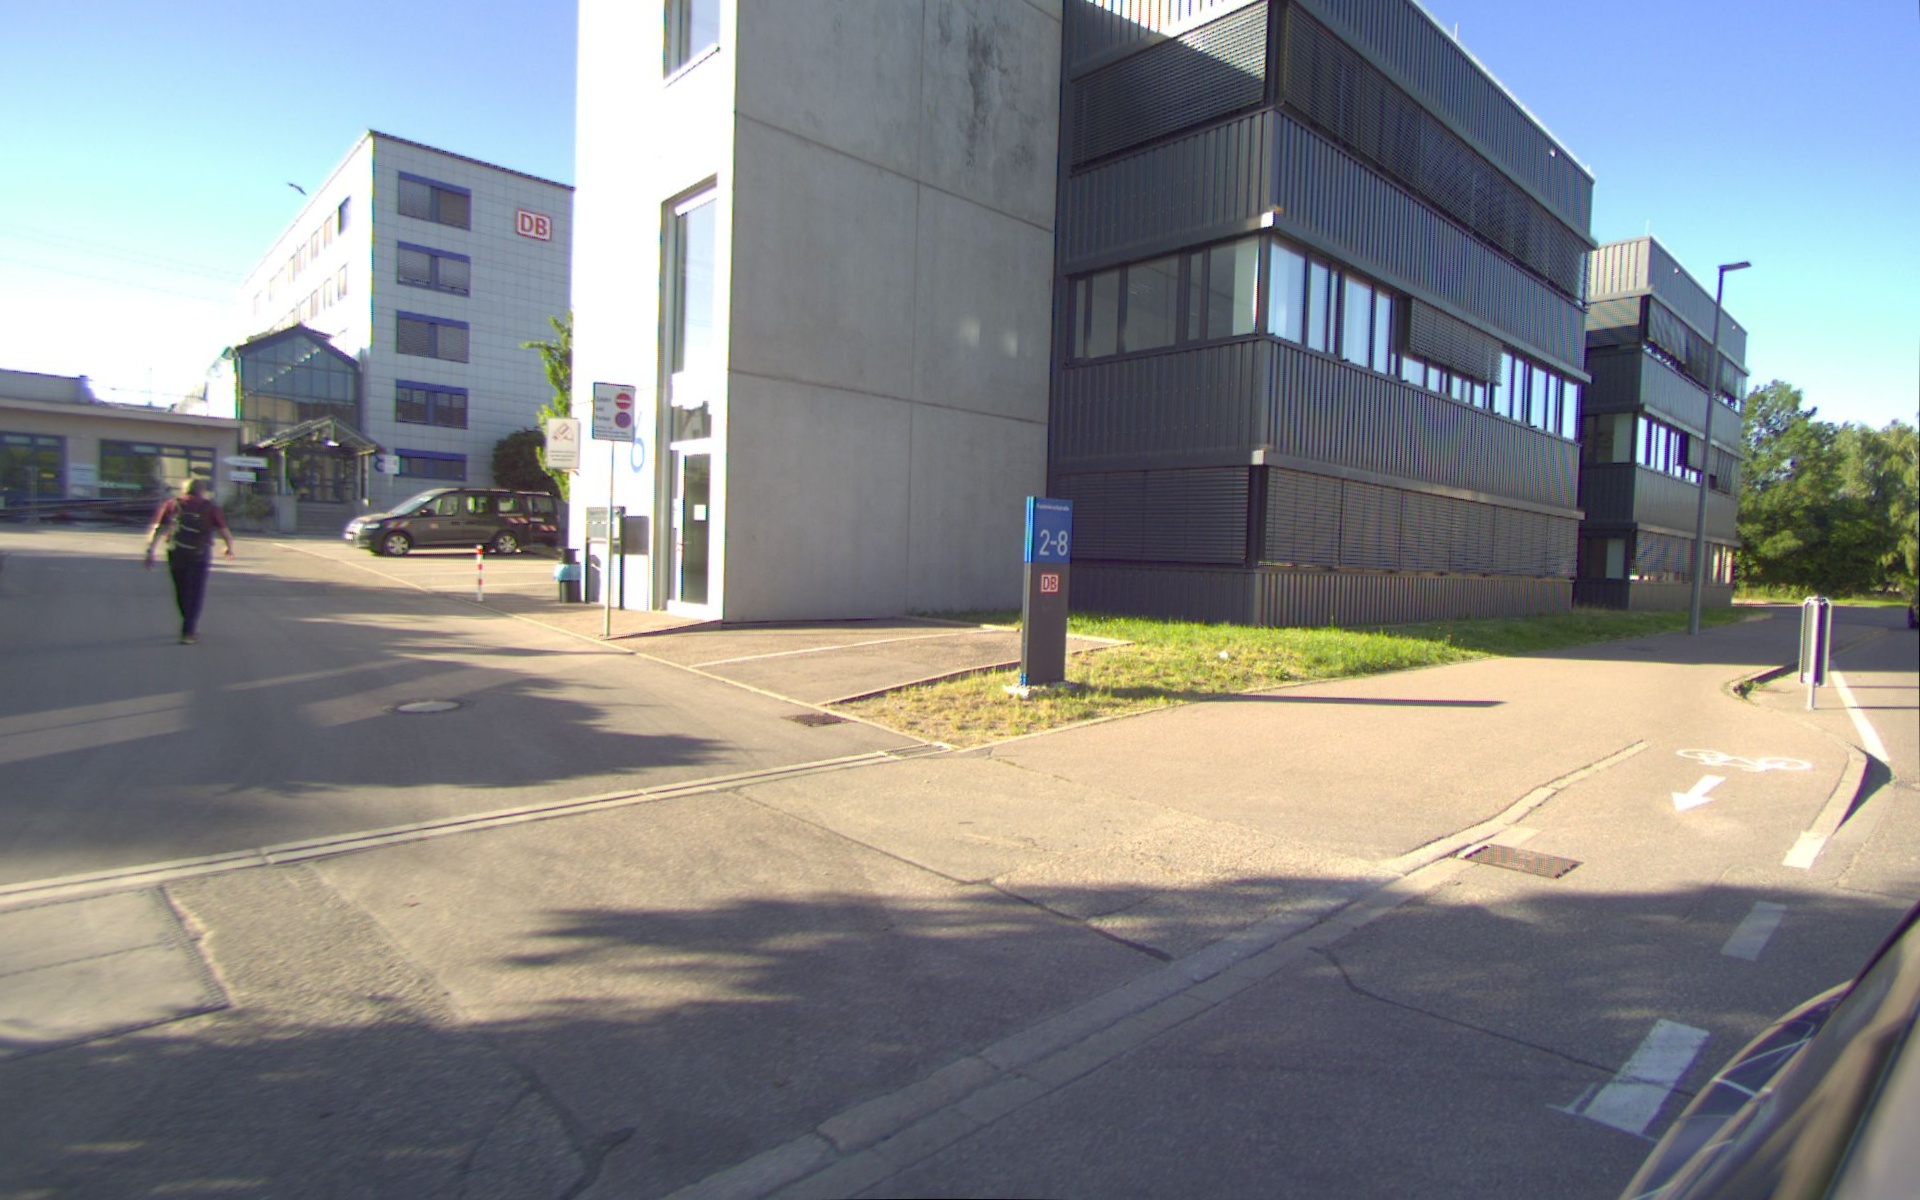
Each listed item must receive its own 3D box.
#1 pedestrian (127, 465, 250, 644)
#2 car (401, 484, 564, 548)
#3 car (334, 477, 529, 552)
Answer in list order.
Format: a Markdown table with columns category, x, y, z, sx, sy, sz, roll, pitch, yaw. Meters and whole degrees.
| category | x | y | z | sx | sy | sz | roll | pitch | yaw |
| --- | --- | --- | --- | --- | --- | --- | --- | --- | --- |
| pedestrian | -8.435 | -0.524 | 11.059 | 1.153 | 1.813 | 0.882 | 8 | 6 | 43 |
| car | -14.848 | -2.587 | 31.600 | 1.808 | 1.801 | 4.246 | 6 | 5 | 44 |
| car | -13.989 | -2.223 | 26.949 | 1.871 | 1.801 | 4.246 | 6 | 5 | 44 |
